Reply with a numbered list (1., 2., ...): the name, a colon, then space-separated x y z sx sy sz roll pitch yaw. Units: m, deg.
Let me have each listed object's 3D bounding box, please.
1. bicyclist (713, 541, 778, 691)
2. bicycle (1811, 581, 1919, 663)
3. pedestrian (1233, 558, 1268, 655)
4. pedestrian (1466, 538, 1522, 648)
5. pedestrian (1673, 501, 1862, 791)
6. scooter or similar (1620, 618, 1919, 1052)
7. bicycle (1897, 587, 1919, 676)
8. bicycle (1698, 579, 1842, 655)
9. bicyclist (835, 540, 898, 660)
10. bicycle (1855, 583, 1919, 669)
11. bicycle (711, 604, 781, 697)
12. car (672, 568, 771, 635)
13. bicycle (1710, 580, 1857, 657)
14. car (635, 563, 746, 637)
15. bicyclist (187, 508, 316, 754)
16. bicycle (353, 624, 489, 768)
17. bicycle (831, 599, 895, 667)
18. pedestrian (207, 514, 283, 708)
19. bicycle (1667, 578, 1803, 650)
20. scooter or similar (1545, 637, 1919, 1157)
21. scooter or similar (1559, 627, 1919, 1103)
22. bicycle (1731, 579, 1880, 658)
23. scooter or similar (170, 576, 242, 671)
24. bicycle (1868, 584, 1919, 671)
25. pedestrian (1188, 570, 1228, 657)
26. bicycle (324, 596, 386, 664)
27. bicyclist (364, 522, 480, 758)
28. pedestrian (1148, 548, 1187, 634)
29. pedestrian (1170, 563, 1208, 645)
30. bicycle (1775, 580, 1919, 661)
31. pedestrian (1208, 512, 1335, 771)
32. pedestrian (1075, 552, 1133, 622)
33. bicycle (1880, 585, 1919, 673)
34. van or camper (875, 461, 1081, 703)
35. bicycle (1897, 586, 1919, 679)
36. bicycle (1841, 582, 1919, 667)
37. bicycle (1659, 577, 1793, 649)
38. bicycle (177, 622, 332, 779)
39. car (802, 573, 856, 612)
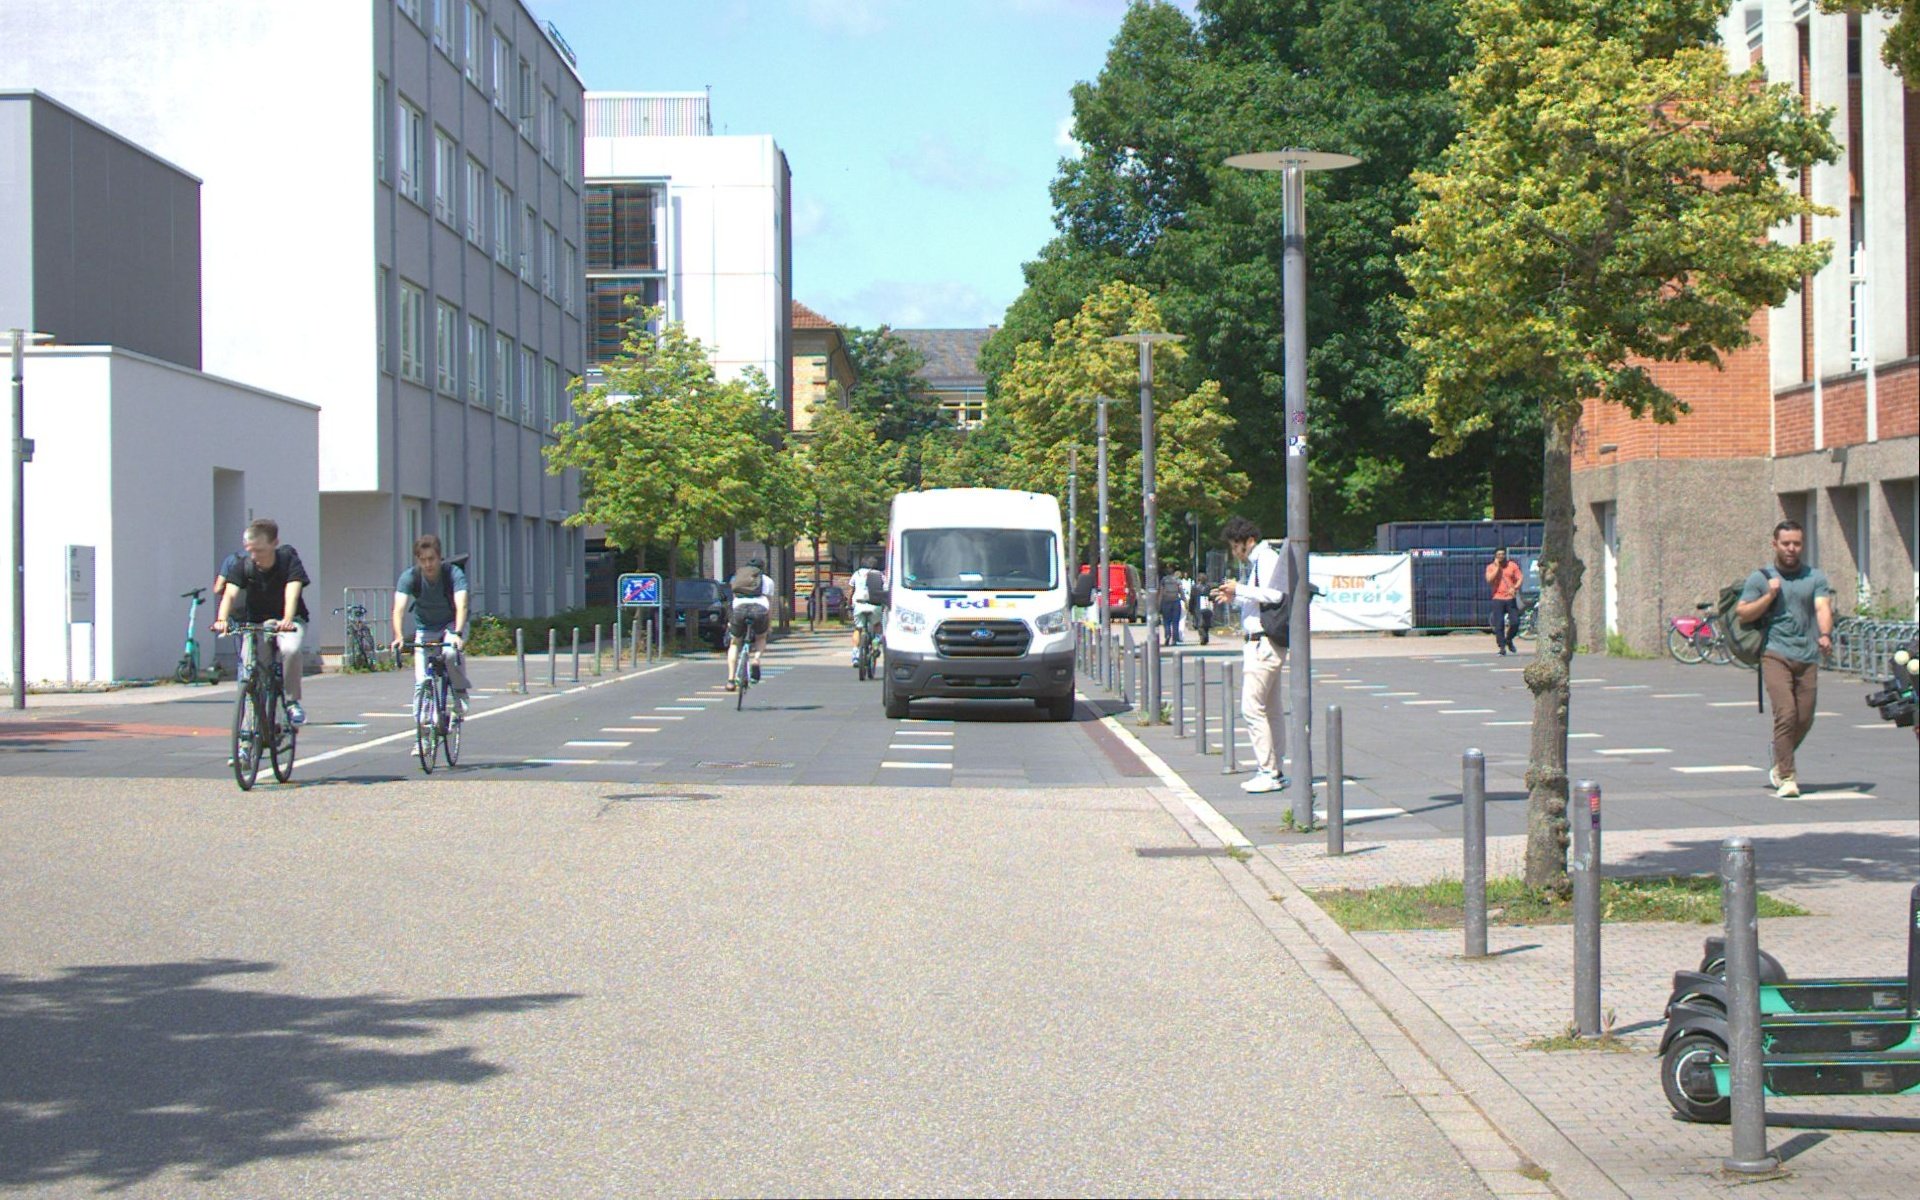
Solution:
1. bicyclist: -2.416 0.178 38.601 0.717 1.656 1.095 0 0 -4
2. bicycle: 11.605 0.264 42.911 1.809 0.981 0.560 -2 0 0
3. pedestrian: 5.575 0.118 65.998 0.576 1.853 0.570 -1 0 -2
4. pedestrian: 9.067 -0.124 58.370 0.852 1.853 1.116 -1 0 5
5. pedestrian: 4.957 0.267 21.158 0.853 1.727 1.160 -1 0 -1
6. scooter or similar: 2.734 0.690 10.490 1.263 1.260 0.638 0 0 32
7. bicycle: 11.499 0.324 38.534 1.809 0.981 0.560 -2 0 0
8. bicycle: 11.062 0.225 46.987 1.809 0.981 0.560 -2 0 0
9. bicyclist: -1.416 -0.002 52.023 0.771 1.750 0.848 4 1 3
10. bicycle: 11.494 0.288 40.338 1.809 0.981 0.560 -2 0 0
11. bicycle: -2.429 0.555 38.883 0.706 0.990 1.911 -2 1 -5
12. car: -5.622 0.021 81.448 1.796 1.525 3.999 -1 1 4
13. bicycle: 11.082 0.249 46.281 1.809 0.981 0.560 -2 0 0
14. car: -5.780 -0.020 74.035 1.796 1.525 3.999 -1 1 4
15. bicyclist: -4.723 0.198 22.959 0.643 1.596 0.909 -1 0 0
16. bicycle: -3.916 0.678 25.109 0.677 0.961 2.003 1 0 -1
17. bicycle: -1.458 0.514 52.062 0.808 0.999 2.123 0 -1 2
18. pedestrian: -6.685 0.108 32.119 0.666 1.779 0.985 0 -1 -13
19. bicycle: 11.129 0.197 49.386 1.809 0.981 0.560 -2 0 0
20. scooter or similar: 2.237 0.736 8.908 1.263 1.260 0.649 0 0 32
21. scooter or similar: 2.410 0.712 9.680 1.263 1.260 0.649 0 0 32
22. bicycle: 11.171 0.246 45.451 1.809 0.981 0.560 -2 0 0
23. scooter or similar: -9.784 0.294 44.642 0.378 1.212 1.204 0 0 16
24. bicycle: 11.479 0.294 39.724 1.809 0.981 0.560 -2 0 0
25. pedestrian: 5.353 0.282 74.287 0.790 1.853 1.026 -1 0 1
26. bicycle: -9.142 0.452 51.990 0.523 0.981 1.632 -2 0 4
27. bicyclist: -3.914 0.282 25.062 0.667 1.676 0.993 -1 0 -1
28. pedestrian: 4.500 -0.200 74.512 0.790 1.853 1.243 -1 0 1
29. pedestrian: 5.187 0.083 77.911 0.790 1.853 1.026 -1 0 1
30. bicycle: 11.441 0.263 44.111 1.809 0.981 0.560 -2 0 0
31. pedestrian: 2.102 0.271 23.291 0.702 1.689 0.962 -3 0 1
32. pedestrian: 4.312 -0.409 103.168 1.499 1.989 1.646 -3 1 -1
33. bicycle: 11.464 0.305 39.137 1.809 0.981 0.560 -2 0 0
34. van or camper: 0.128 -0.172 37.177 1.993 2.437 4.570 0 0 -2
35. bicycle: 11.063 0.318 36.955 1.809 0.981 0.560 -2 0 0
36. bicycle: 11.488 0.274 40.961 1.809 0.981 0.560 -2 0 0
37. bicycle: 11.201 0.186 50.286 1.809 0.981 0.560 -2 0 0
38. bicycle: -4.701 0.651 23.009 0.677 0.961 2.003 1 0 -2
39. car: -5.352 -0.325 140.693 1.796 1.525 3.999 -1 1 4
